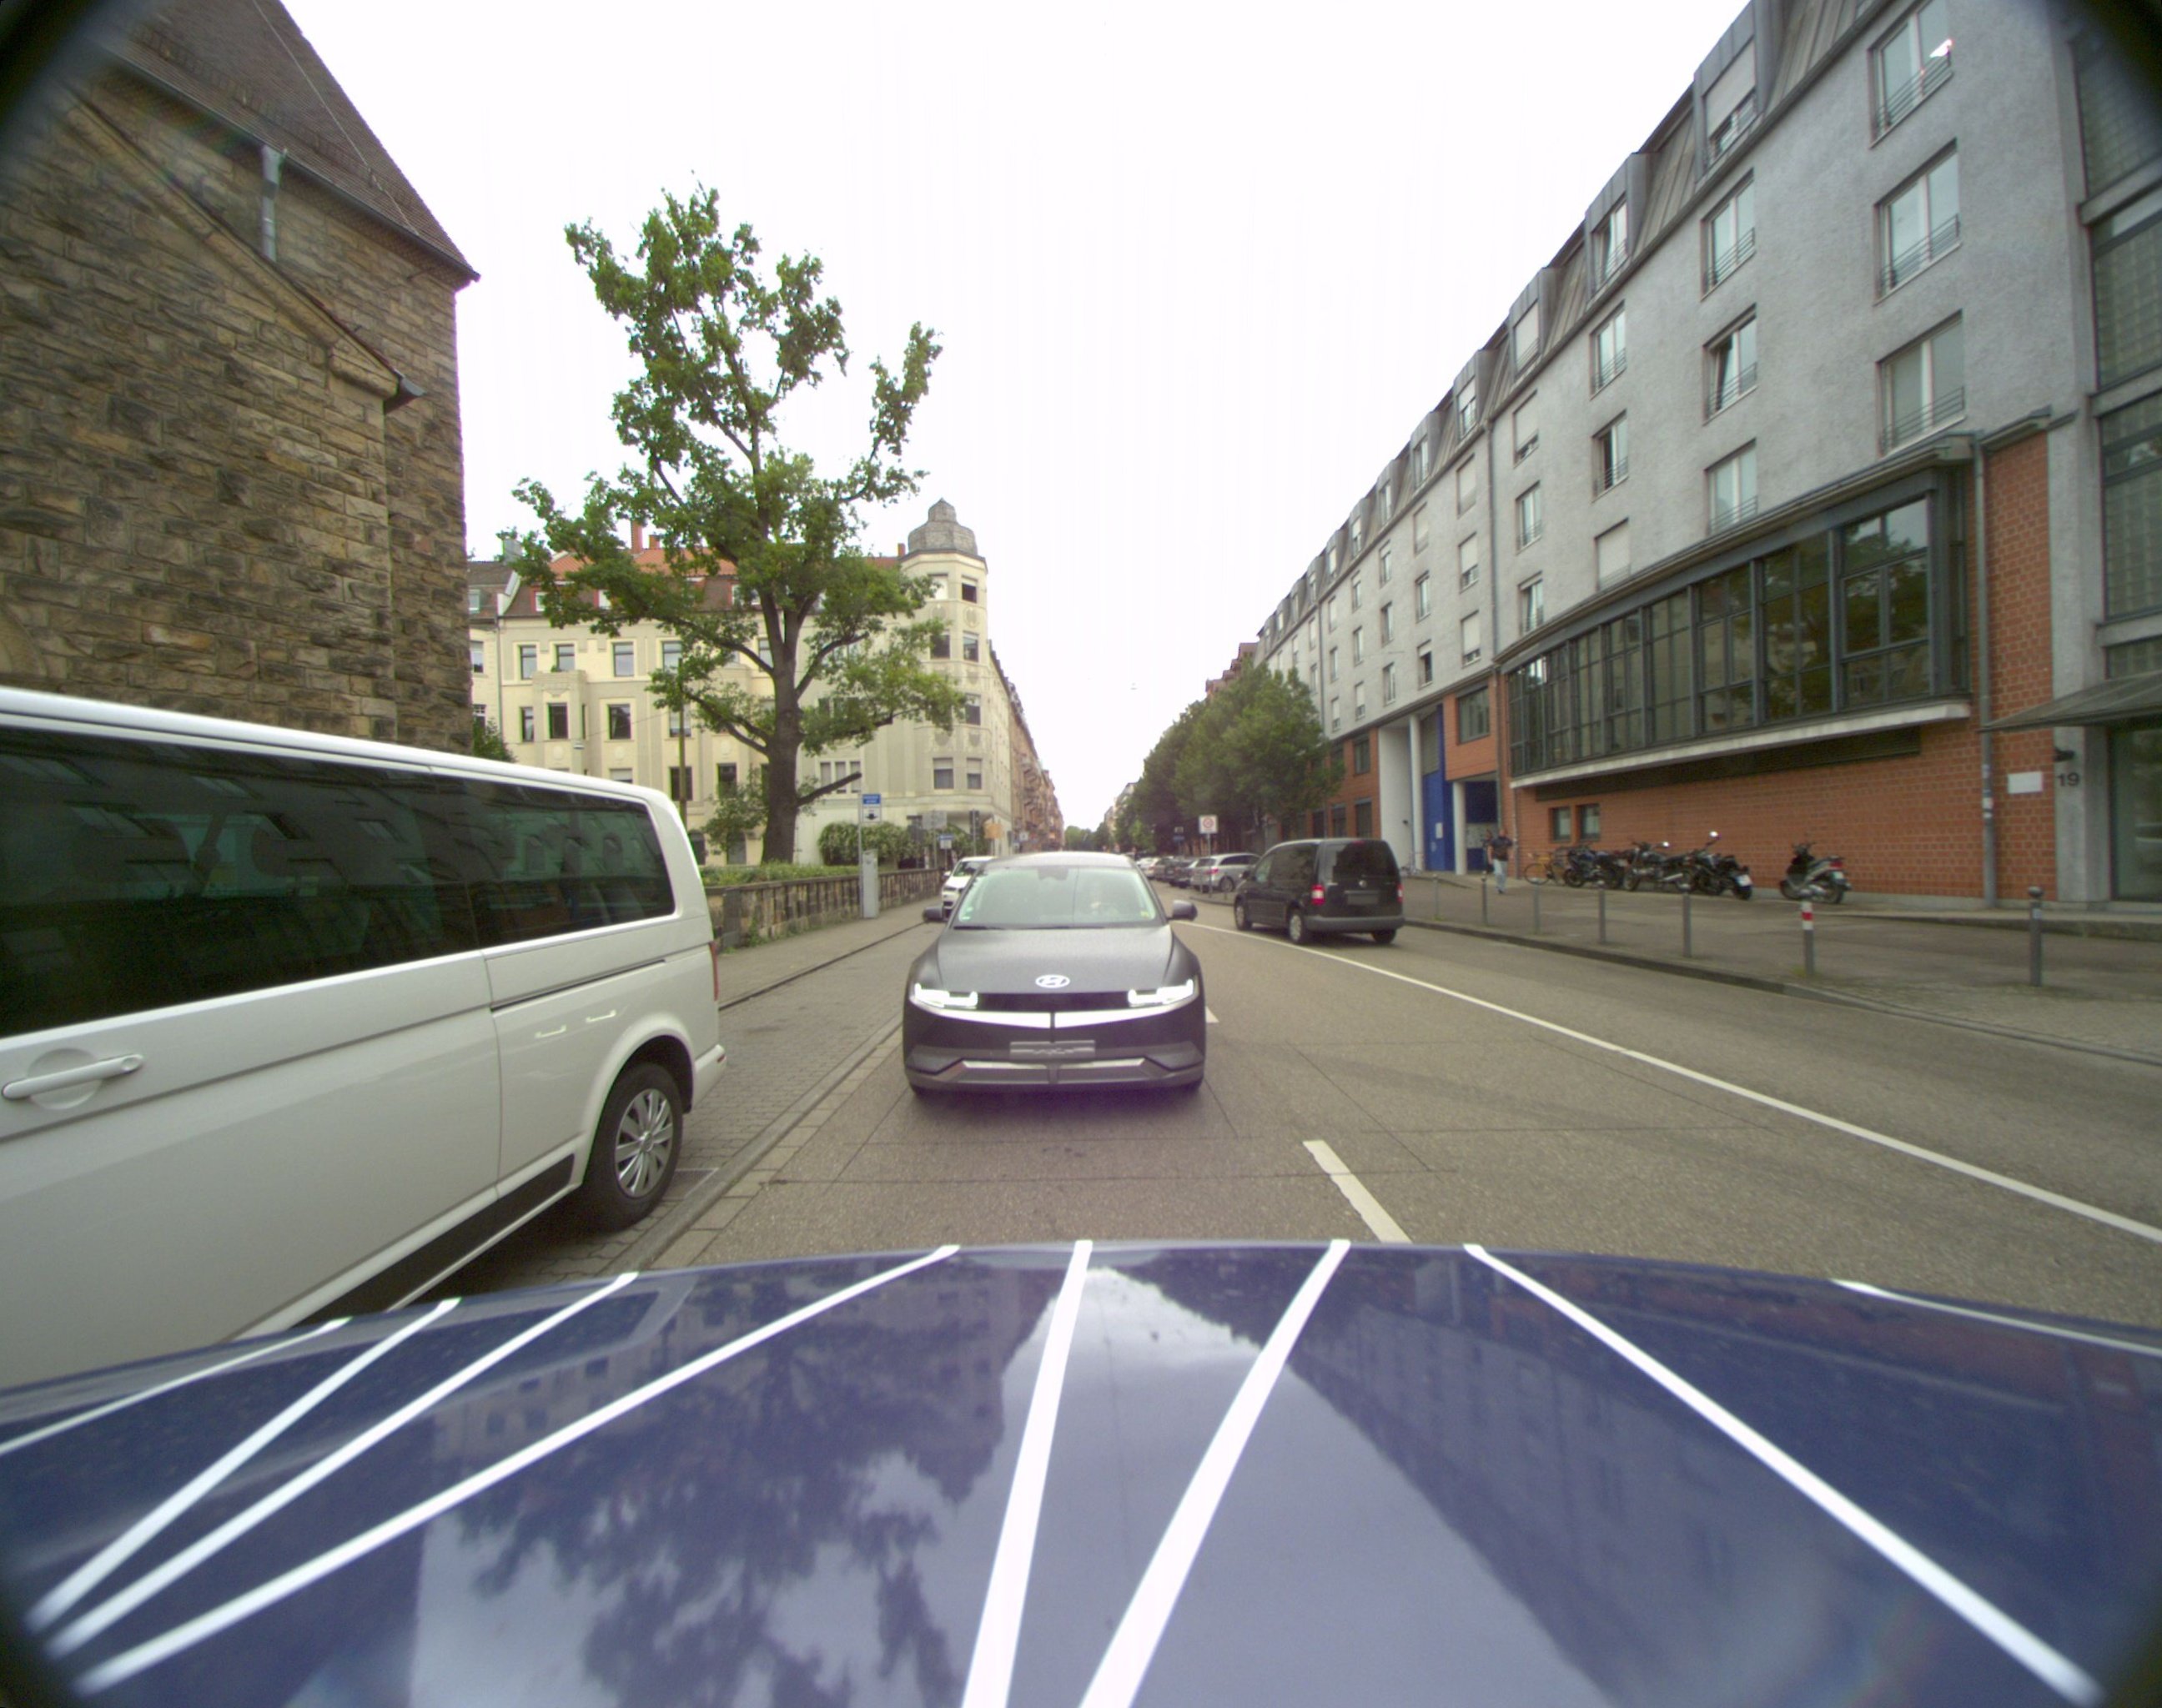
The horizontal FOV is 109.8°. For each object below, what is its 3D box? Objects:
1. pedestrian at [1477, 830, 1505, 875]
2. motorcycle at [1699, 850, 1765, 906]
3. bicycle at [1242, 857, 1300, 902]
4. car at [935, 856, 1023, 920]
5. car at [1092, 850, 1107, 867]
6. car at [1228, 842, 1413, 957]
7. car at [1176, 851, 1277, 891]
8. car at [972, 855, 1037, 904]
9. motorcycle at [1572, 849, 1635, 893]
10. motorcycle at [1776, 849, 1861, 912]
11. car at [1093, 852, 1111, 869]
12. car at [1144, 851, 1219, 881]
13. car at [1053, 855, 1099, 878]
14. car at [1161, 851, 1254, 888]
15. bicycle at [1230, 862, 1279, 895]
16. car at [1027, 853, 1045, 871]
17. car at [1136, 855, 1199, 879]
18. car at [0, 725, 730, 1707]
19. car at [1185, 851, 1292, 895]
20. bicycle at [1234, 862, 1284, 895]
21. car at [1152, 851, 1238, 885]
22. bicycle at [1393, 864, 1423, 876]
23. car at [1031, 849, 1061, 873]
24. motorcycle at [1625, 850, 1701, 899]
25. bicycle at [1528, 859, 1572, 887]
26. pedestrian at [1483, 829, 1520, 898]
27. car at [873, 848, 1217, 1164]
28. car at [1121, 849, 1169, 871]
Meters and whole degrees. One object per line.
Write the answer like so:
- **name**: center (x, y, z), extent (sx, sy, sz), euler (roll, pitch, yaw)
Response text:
- **pedestrian**: center (15.365, -0.075, 28.476), extent (0.686, 1.640, 0.622), euler (-2, 1, 2)
- **motorcycle**: center (13.313, 0.464, 15.592), extent (0.445, 1.091, 1.765), euler (-1, 0, 21)
- **bicycle**: center (5.862, 0.774, 23.431), extent (1.630, 1.282, 0.416), euler (-3, 1, -1)
- **car**: center (-2.722, 0.852, 21.119), extent (1.820, 1.556, 4.000), euler (-2, 0, 1)
- **car**: center (2.333, 0.541, 97.349), extent (1.875, 2.002, 3.999), euler (-2, 1, 1)
- **car**: center (4.229, 0.723, 14.169), extent (1.699, 1.793, 4.126), euler (-1, 0, -7)
- **car**: center (6.524, 0.737, 34.113), extent (4.004, 1.619, 1.996), euler (-2, 0, -22)
- **car**: center (-2.644, 0.849, 27.133), extent (1.820, 1.556, 4.000), euler (-2, 0, 1)
- **motorcycle**: center (13.643, 0.435, 19.877), extent (0.446, 1.091, 1.763), euler (-2, 0, 1)
- **motorcycle**: center (13.515, 0.454, 13.976), extent (0.445, 1.091, 1.765), euler (-1, 0, 21)
- **car**: center (2.504, 0.763, 91.113), extent (1.998, 1.897, 4.000), euler (-2, 0, 1)
- **car**: center (6.060, 0.715, 46.047), extent (4.004, 1.619, 1.996), euler (-2, 0, -22)
- **car**: center (-0.416, 0.890, 57.201), extent (1.914, 1.597, 4.242), euler (-2, 0, -23)
- **car**: center (6.203, 0.725, 37.331), extent (4.004, 1.619, 1.996), euler (-2, 0, -22)
- **bicycle**: center (6.287, 0.877, 27.521), extent (1.630, 1.067, 0.416), euler (-3, 1, -1)
- **car**: center (-3.888, 0.663, 65.730), extent (1.336, 1.462, 2.857), euler (-2, 1, 1)
- **car**: center (6.003, 0.864, 52.684), extent (4.004, 1.488, 1.735), euler (-2, 0, -22)
- **car**: center (-2.775, 0.753, 1.448), extent (1.810, 1.908, 5.163), euler (-2, 0, -1)
- **car**: center (6.511, 0.747, 31.453), extent (4.004, 1.619, 1.769), euler (-2, 0, -22)
- **bicycle**: center (6.346, 0.881, 27.066), extent (1.630, 1.067, 0.416), euler (-3, 1, -1)
- **car**: center (6.015, 0.712, 40.101), extent (4.004, 1.619, 1.996), euler (-2, 0, -22)
- **bicycle**: center (13.391, 0.661, 31.104), extent (1.010, 0.434, 0.527), euler (-2, 2, 2)
- **car**: center (-2.416, 0.466, 53.556), extent (1.820, 1.556, 4.000), euler (-2, 0, 1)
- **motorcycle**: center (13.647, 0.458, 17.870), extent (0.446, 1.091, 1.763), euler (-2, 0, 1)
- **bicycle**: center (13.854, 0.554, 22.461), extent (0.336, 0.782, 1.581), euler (-2, 0, 1)
- **pedestrian**: center (11.356, 0.245, 20.534), extent (0.621, 1.812, 0.642), euler (-2, 1, 1)
- **car**: center (-0.168, 0.827, 6.124), extent (1.820, 1.675, 4.000), euler (-2, 0, 1)
- **car**: center (6.076, 0.578, 72.346), extent (4.004, 1.897, 1.996), euler (-2, 0, -22)
